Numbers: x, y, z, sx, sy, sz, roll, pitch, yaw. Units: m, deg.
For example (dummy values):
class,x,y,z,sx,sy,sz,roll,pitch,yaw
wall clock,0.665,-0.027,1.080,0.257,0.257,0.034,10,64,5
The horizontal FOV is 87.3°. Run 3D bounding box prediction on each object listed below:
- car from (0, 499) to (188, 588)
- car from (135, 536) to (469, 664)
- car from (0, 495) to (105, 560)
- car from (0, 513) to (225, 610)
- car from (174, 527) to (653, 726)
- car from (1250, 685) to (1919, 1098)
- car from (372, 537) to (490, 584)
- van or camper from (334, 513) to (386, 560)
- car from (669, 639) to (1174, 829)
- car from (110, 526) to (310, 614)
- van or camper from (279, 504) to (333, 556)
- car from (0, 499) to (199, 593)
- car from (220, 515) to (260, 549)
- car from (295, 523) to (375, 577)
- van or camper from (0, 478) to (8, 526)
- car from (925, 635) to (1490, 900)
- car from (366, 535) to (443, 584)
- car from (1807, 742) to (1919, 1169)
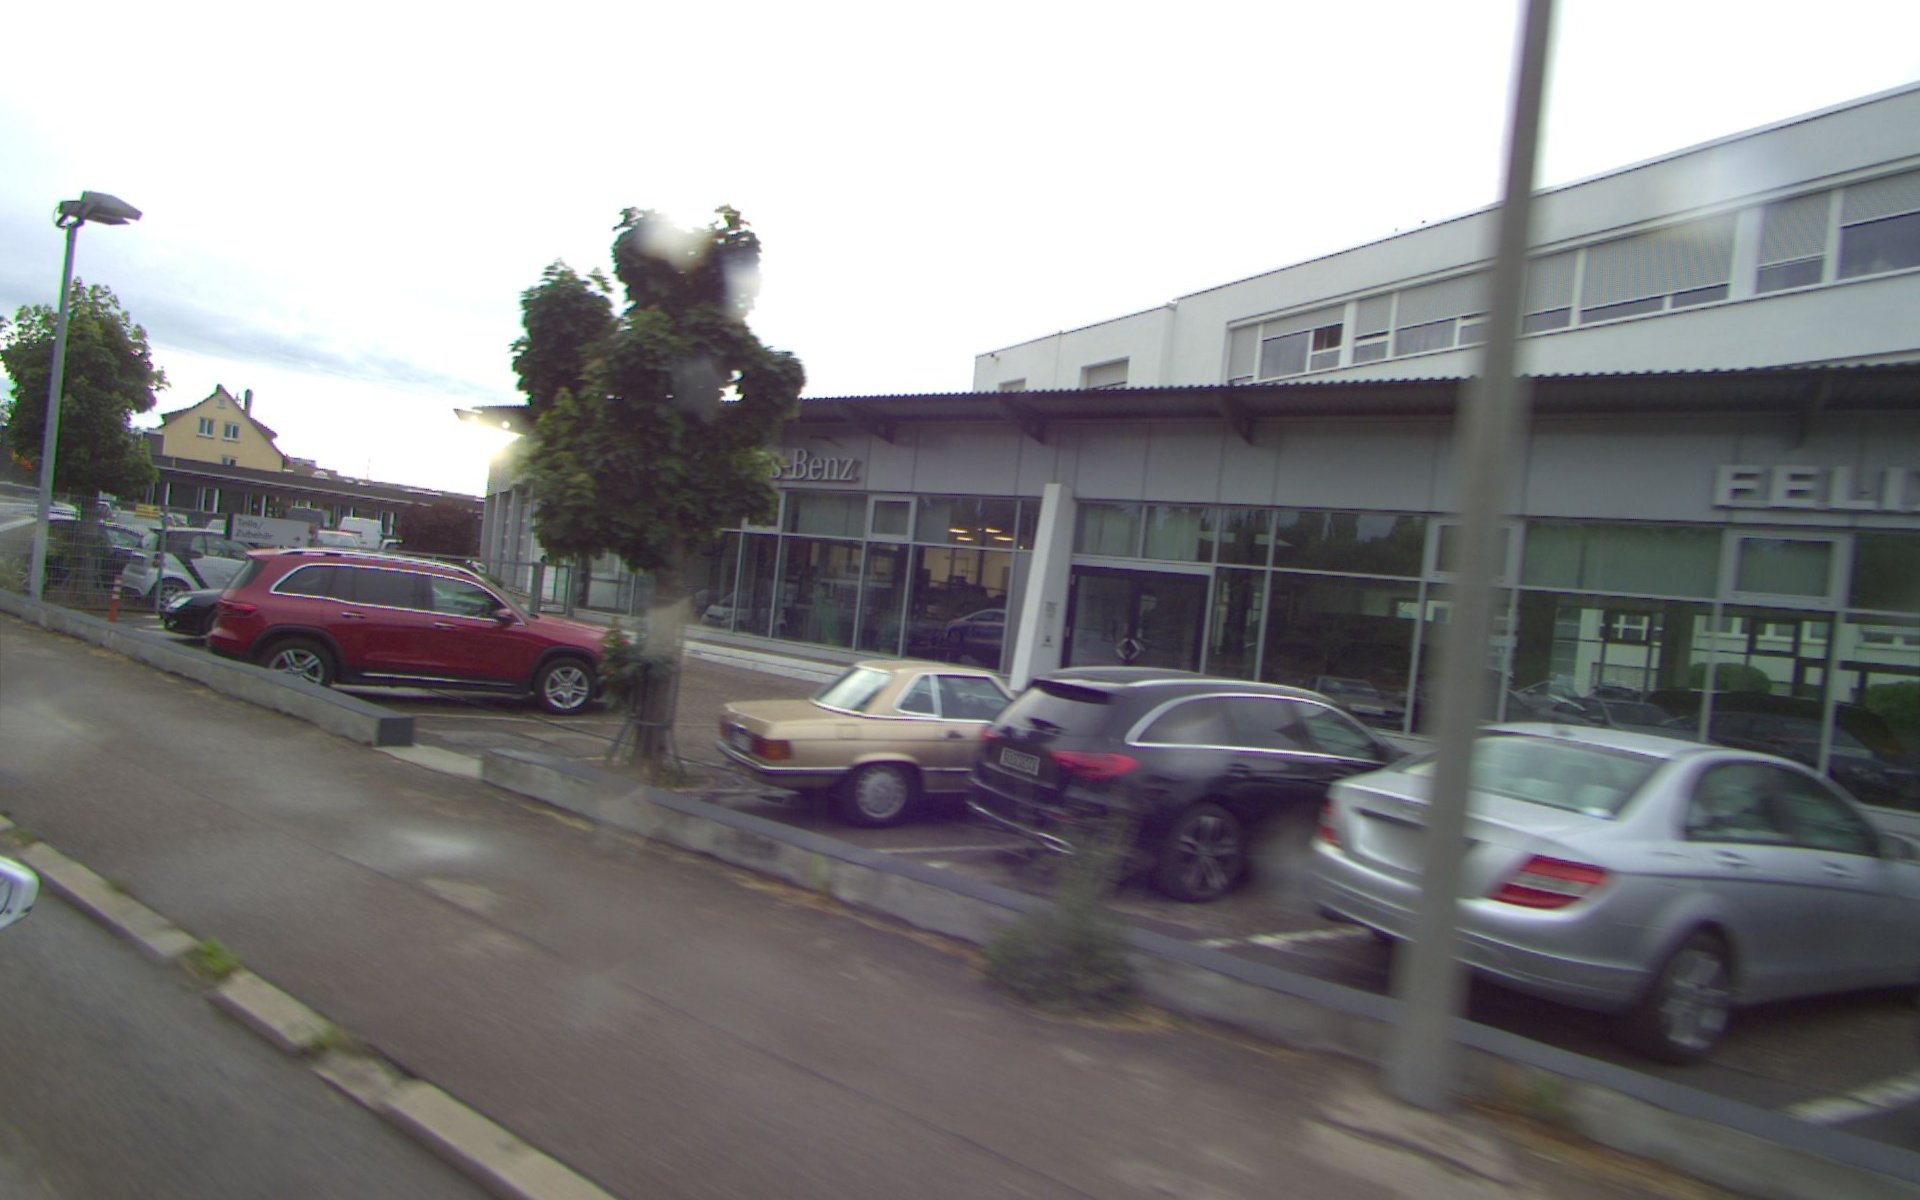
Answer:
class,x,y,z,sx,sy,sz,roll,pitch,yaw
car,-19.647,-1.270,21.992,1.568,1.423,3.996,6,-4,33
car,-10.216,0.024,16.012,4.119,1.458,1.797,8,0,-29
car,-26.682,-2.176,28.125,1.766,1.419,3.982,5,-4,44
car,-17.743,-0.803,20.362,1.969,1.385,4.114,5,-4,35
car,-6.429,0.401,12.344,4.649,1.681,1.986,9,-3,-30
car,3.950,1.450,5.788,4.121,1.485,1.826,6,0,-26
car,-24.337,-1.785,46.310,4.605,1.415,1.707,9,-3,-31
van or camper,-31.697,-3.290,53.088,1.981,1.959,5.387,9,-3,-32
car,-0.275,1.244,9.145,4.189,1.316,1.723,7,-3,-30
car,-15.030,-0.572,20.222,1.969,1.463,2.717,5,0,36
van or camper,-38.102,-4.098,58.529,2.318,2.589,5.686,6,1,-34
car,-21.061,-1.290,24.008,1.940,1.615,4.176,5,-4,38
car,-40.030,-3.792,55.925,1.629,1.591,3.361,6,1,-37
car,-21.395,-1.668,34.362,1.983,1.435,3.965,9,-4,-35
van or camper,-53.142,-5.419,54.009,2.030,2.626,6.522,6,1,-37
car,1.979,1.306,7.862,3.928,1.508,1.962,9,-3,-30
car,-20.829,-1.473,37.652,1.983,1.435,3.965,10,-4,-35
car,5.735,1.649,4.063,3.949,1.573,1.890,9,-3,-23
